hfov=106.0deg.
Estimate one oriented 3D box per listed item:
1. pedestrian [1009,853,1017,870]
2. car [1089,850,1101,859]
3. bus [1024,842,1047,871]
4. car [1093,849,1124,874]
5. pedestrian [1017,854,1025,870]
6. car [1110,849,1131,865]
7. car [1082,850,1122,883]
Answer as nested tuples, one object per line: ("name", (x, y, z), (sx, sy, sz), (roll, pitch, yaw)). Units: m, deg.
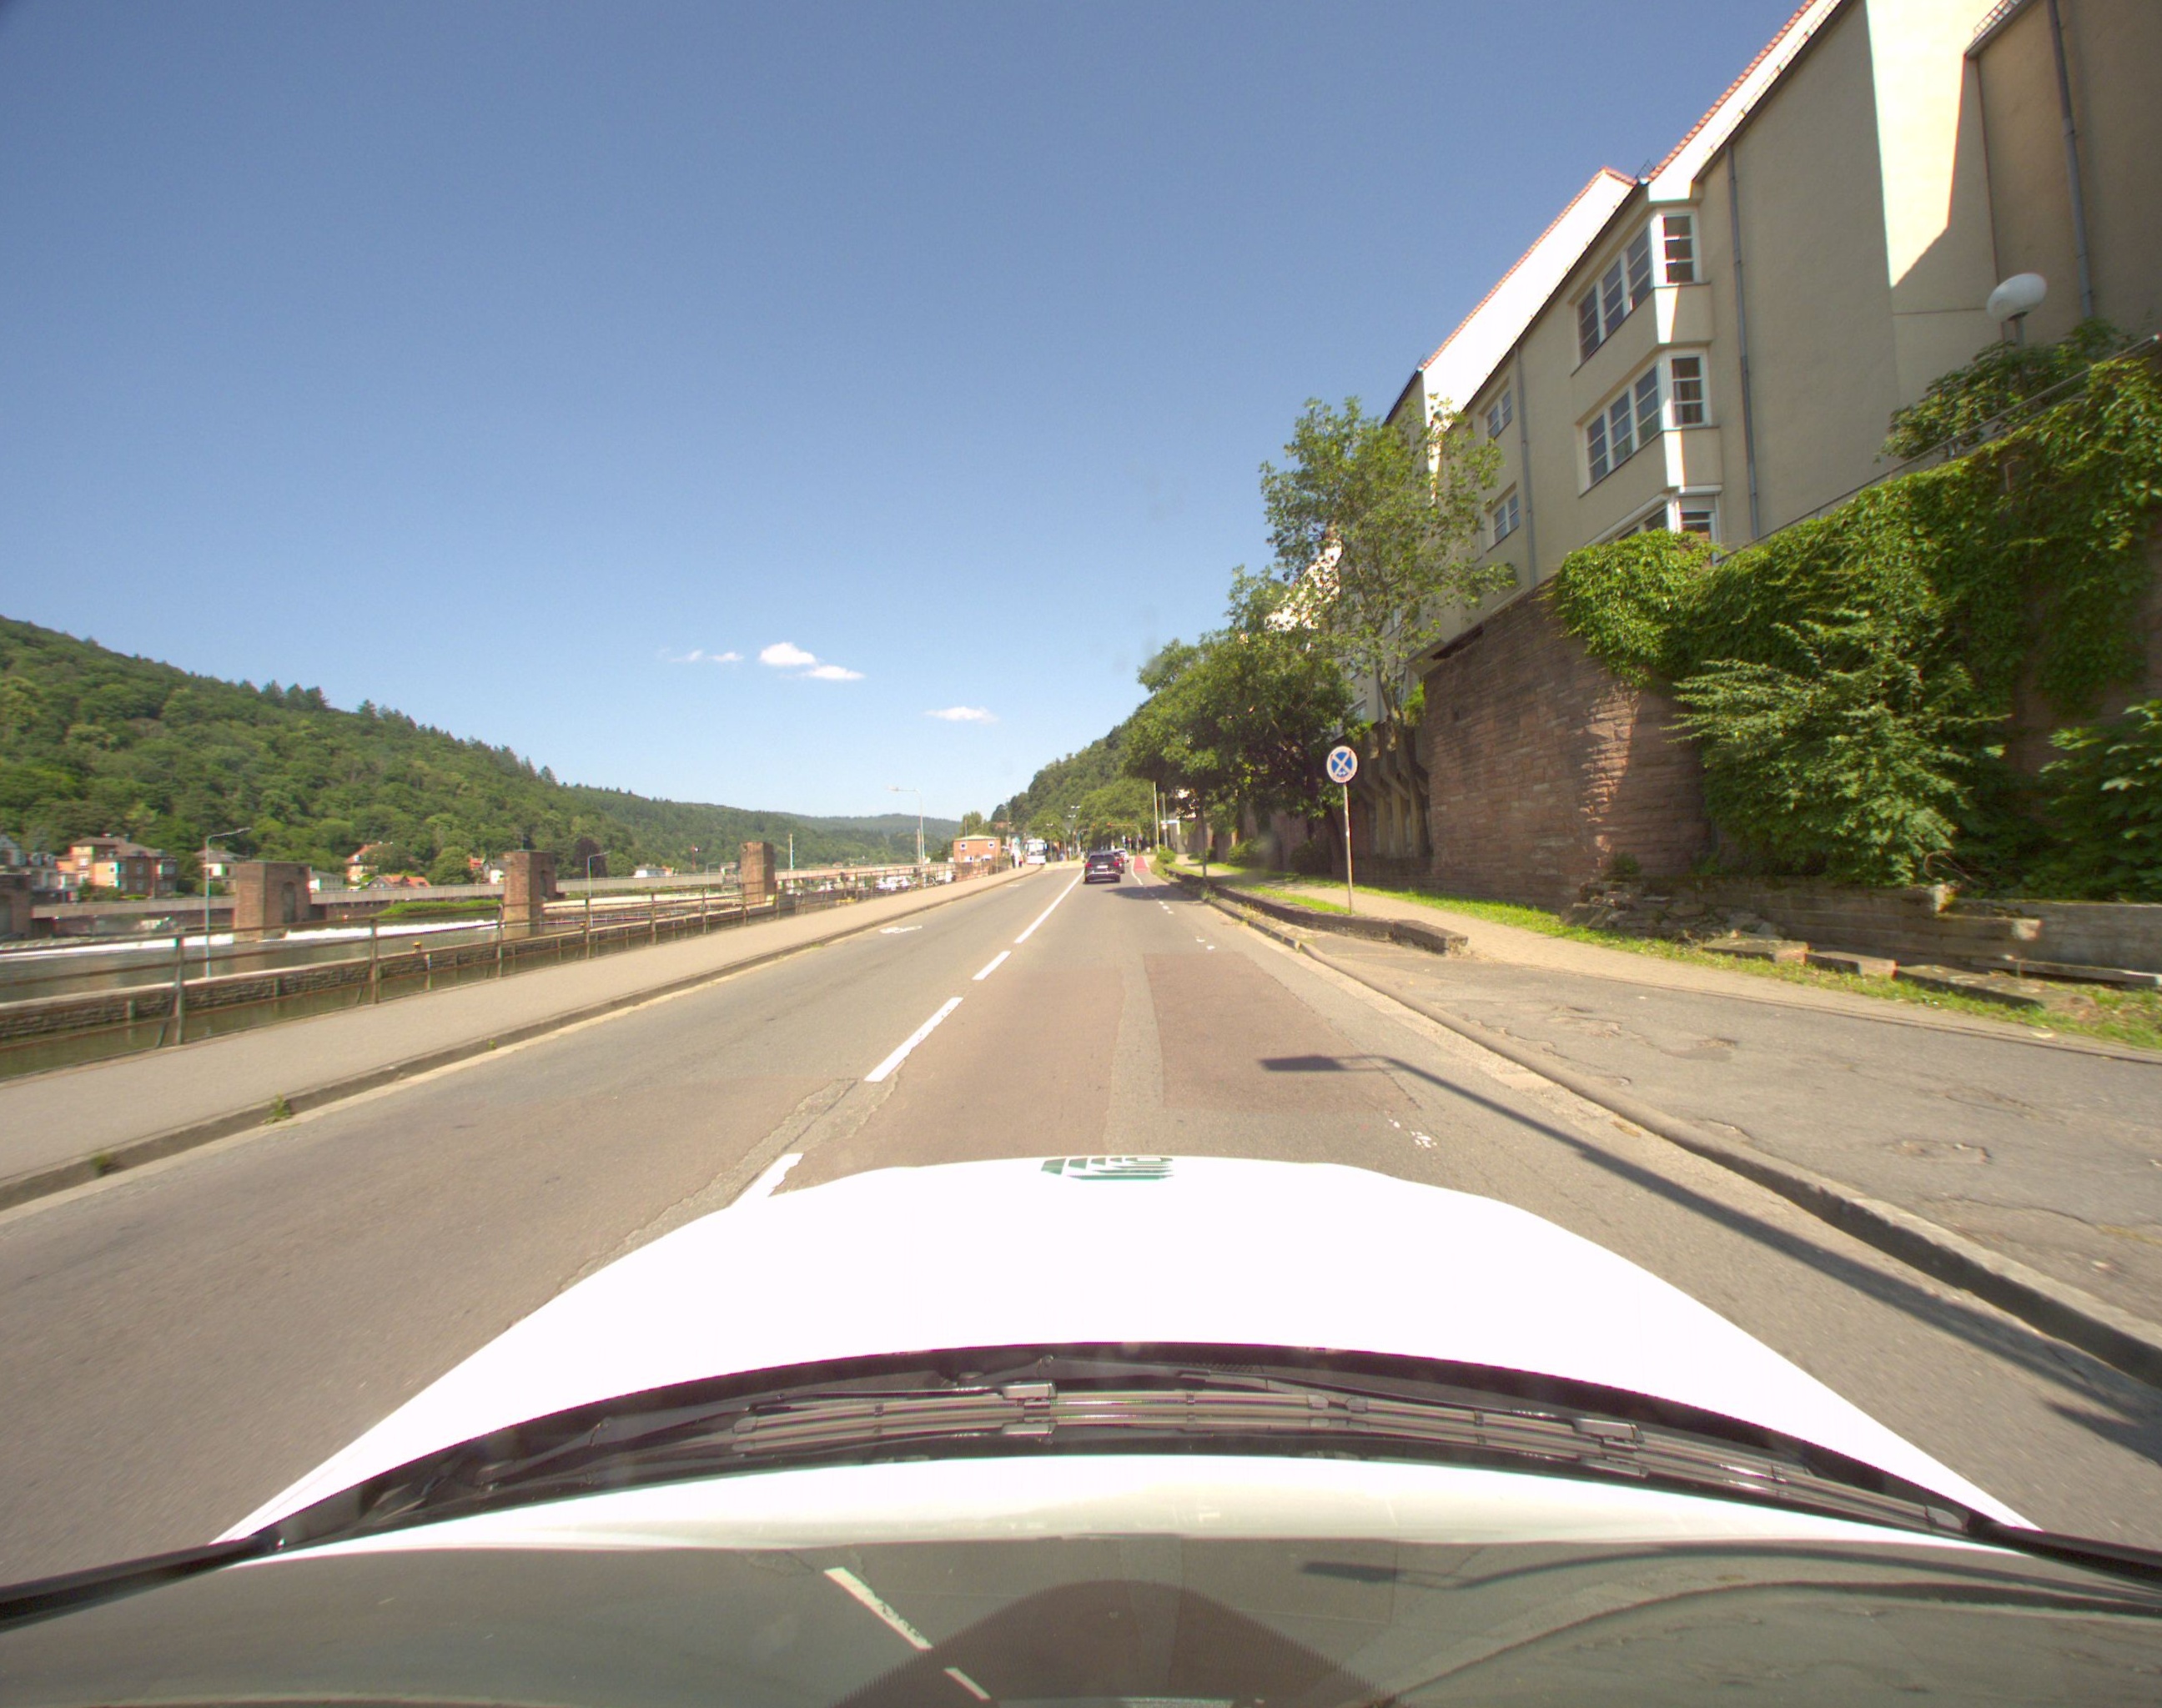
("pedestrian", (-7.090, 0.747, 84.918), (0.680, 1.709, 0.773), (-4, -1, 1))
("car", (2.503, 0.128, 144.299), (1.861, 1.358, 3.998), (-4, 0, -1))
("bus", (-6.670, 0.438, 119.140), (2.950, 3.800, 13.226), (-4, 0, -3))
("car", (1.834, 0.483, 54.346), (1.881, 1.521, 4.307), (-4, 0, 2))
("pedestrian", (-6.406, 0.824, 87.204), (0.700, 1.621, 0.817), (-4, -1, 0))
("car", (3.901, 0.291, 80.806), (1.986, 1.533, 4.860), (-2, 0, 2))
("car", (1.080, 0.599, 41.507), (1.862, 1.514, 4.152), (-3, 0, 2))
